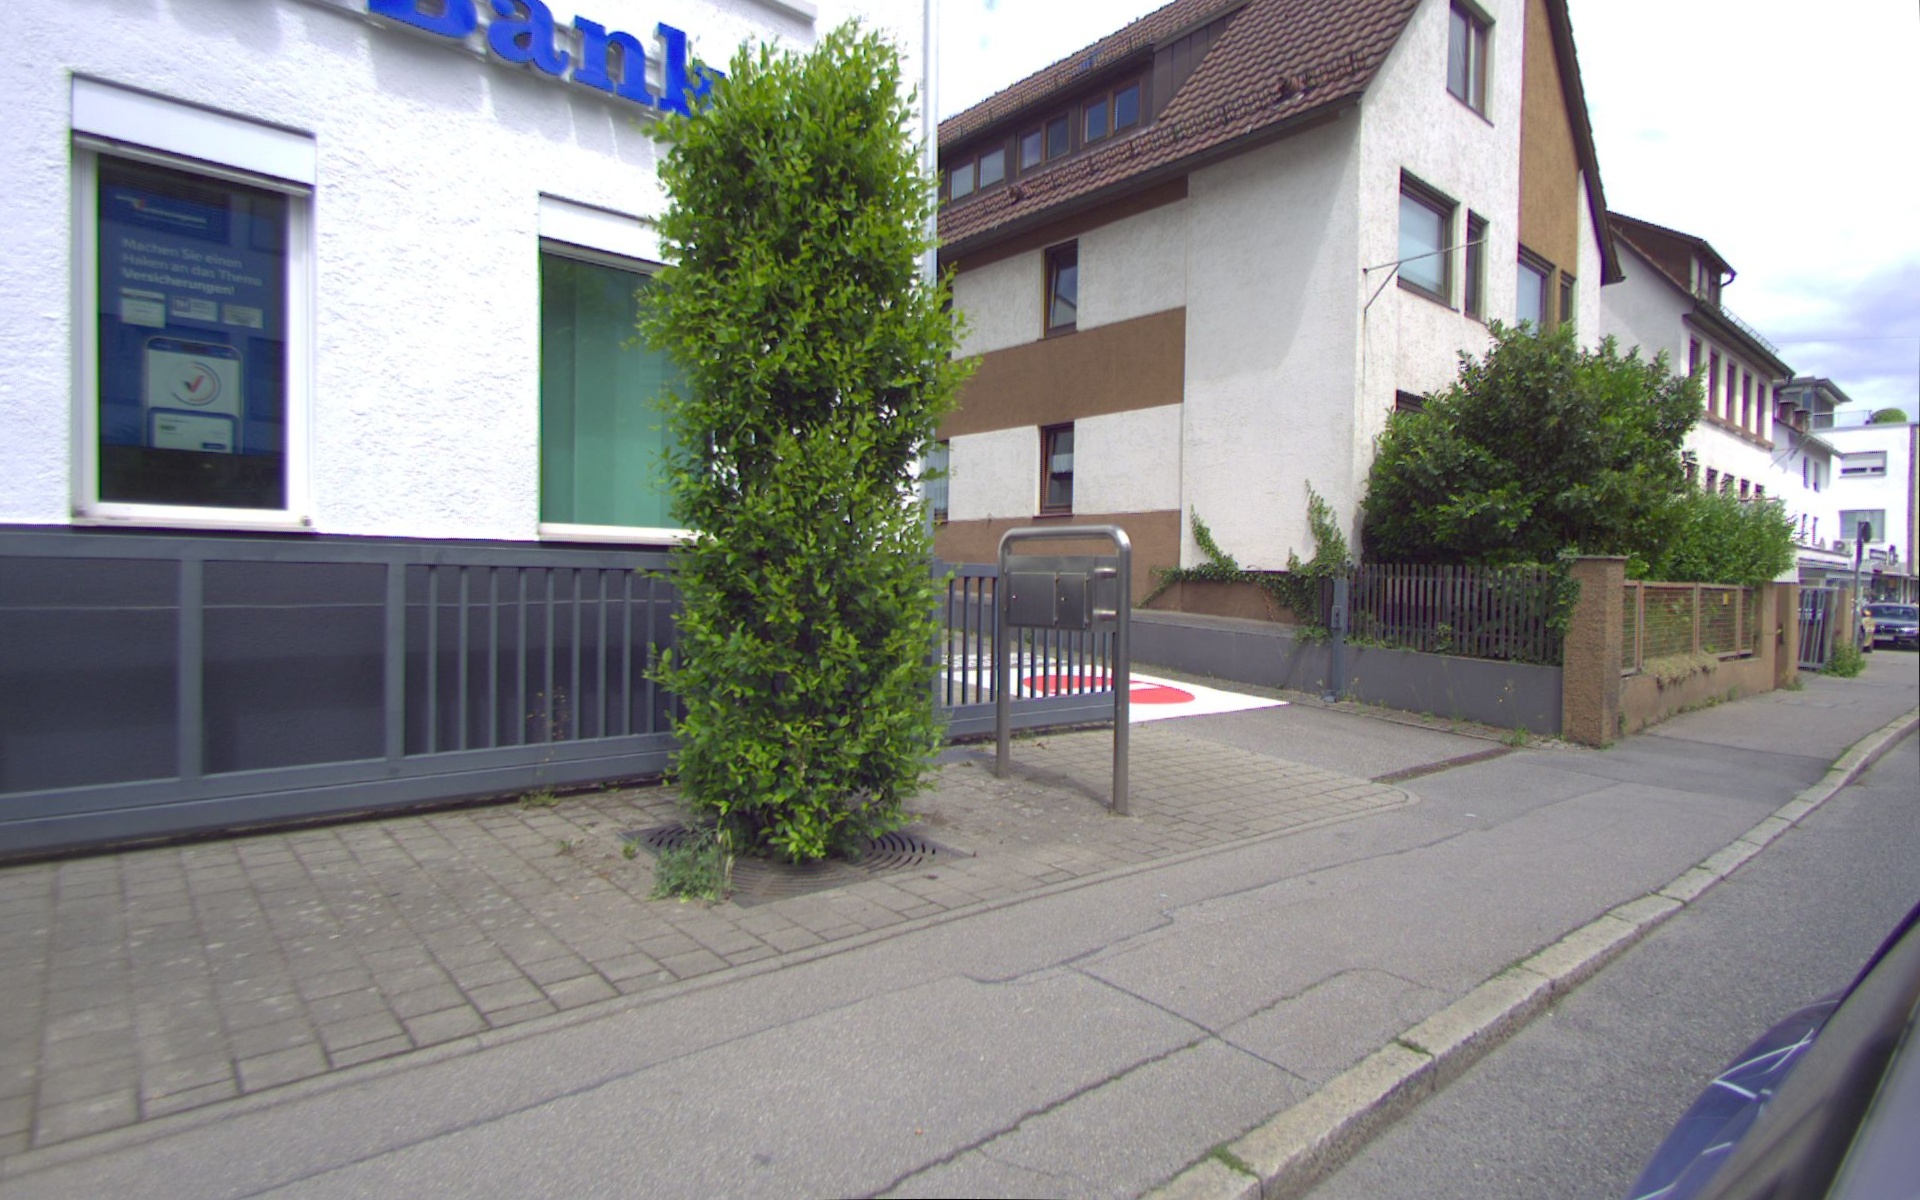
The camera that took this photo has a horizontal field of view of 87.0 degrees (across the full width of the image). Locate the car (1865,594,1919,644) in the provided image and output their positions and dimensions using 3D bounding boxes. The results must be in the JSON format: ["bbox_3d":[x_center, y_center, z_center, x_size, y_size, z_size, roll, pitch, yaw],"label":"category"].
[{"bbox_3d":[29.518,0.569,31.493,3.933,1.439,1.654,0,2,-43],"label":"car"}]

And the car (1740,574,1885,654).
[{"bbox_3d":[19.571,0.280,23.184,4.030,1.639,1.997,0,2,-42],"label":"car"}]

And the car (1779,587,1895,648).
[{"bbox_3d":[22.978,0.407,26.471,3.934,1.430,1.922,0,2,-44],"label":"car"}]
